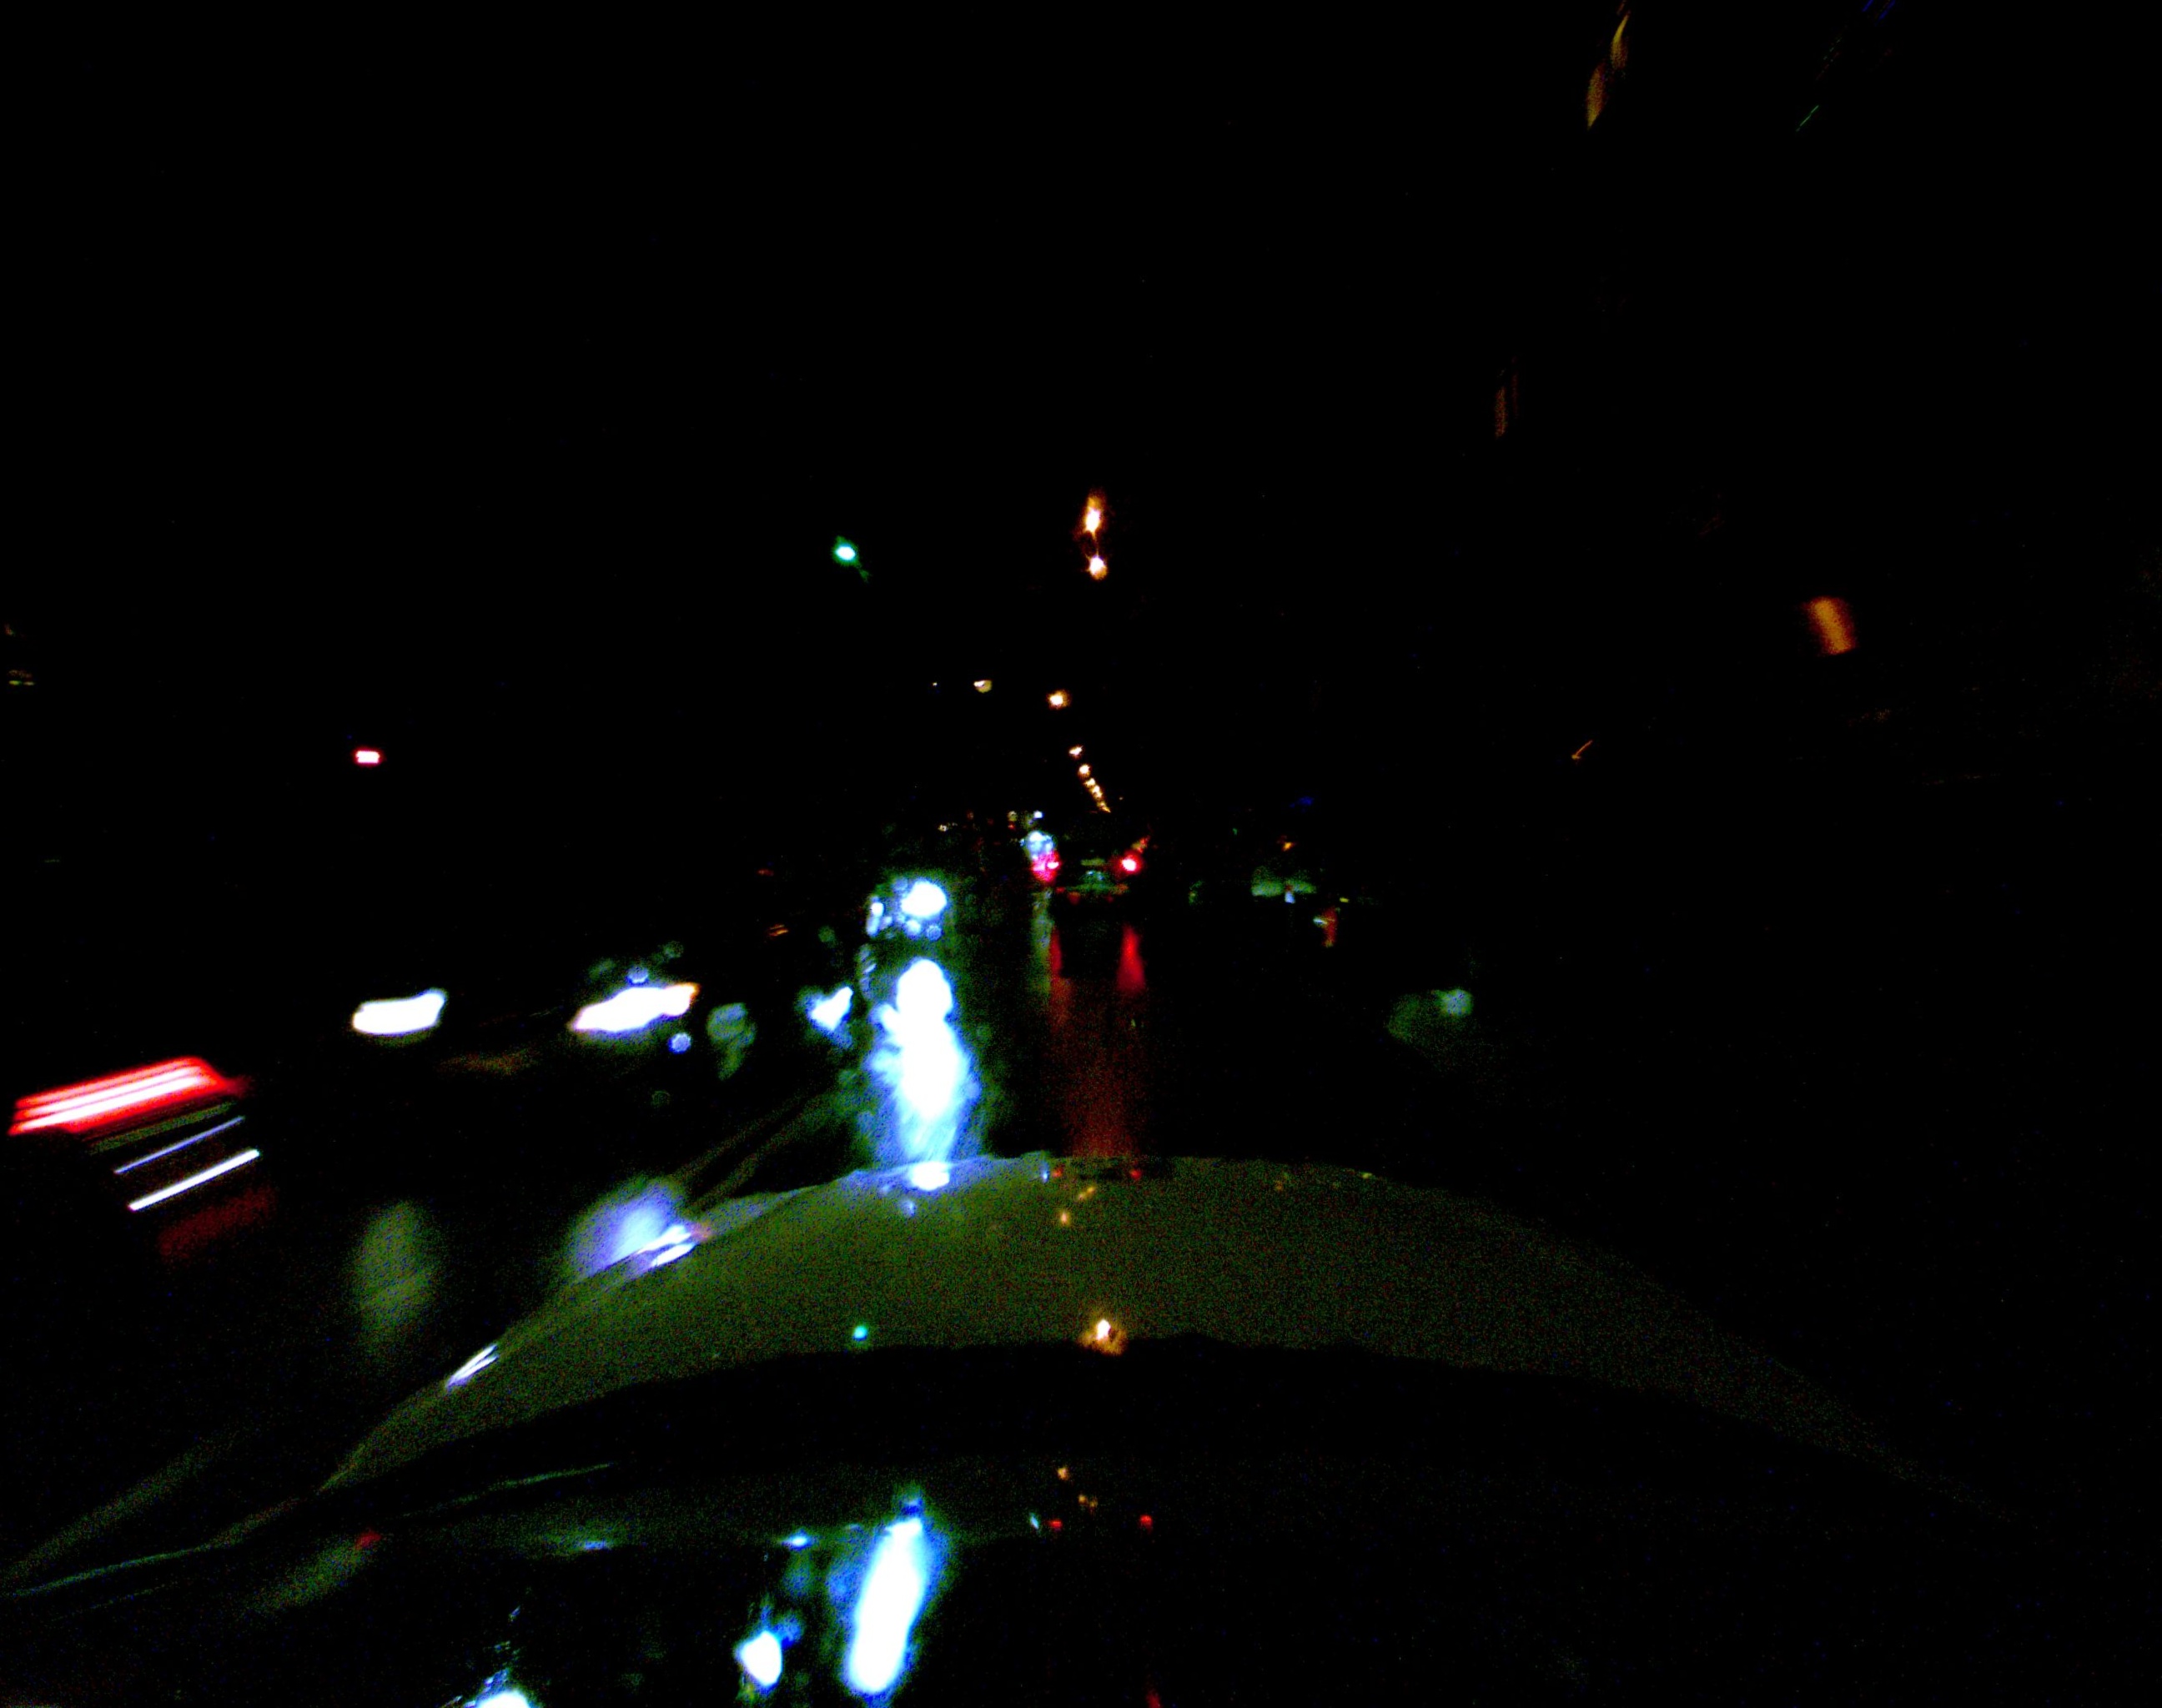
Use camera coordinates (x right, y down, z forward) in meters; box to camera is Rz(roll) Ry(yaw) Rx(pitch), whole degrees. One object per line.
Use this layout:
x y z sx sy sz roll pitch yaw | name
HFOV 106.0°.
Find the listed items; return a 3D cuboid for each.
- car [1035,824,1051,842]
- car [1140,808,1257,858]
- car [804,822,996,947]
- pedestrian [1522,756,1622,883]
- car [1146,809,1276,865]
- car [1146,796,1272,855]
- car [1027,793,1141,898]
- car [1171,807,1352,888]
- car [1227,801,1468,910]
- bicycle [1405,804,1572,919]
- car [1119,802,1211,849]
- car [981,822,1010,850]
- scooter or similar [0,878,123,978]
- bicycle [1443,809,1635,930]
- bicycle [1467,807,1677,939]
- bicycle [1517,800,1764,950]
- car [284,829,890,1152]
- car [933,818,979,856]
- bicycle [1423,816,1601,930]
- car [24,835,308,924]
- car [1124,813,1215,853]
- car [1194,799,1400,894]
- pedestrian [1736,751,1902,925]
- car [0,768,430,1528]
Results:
-4.534 -2.515 96.635 1.720 1.971 4.219 -2 2 -1 | car
4.657 -0.855 32.204 4.185 1.645 1.759 -5 3 -19 | car
-2.573 0.310 12.885 1.781 1.553 4.857 -2 2 1 | car
7.730 -0.545 12.872 0.953 1.881 1.001 -2 2 2 | pedestrian
4.614 -0.624 29.042 4.185 1.645 1.759 -5 3 -19 | car
4.255 -0.960 26.718 4.208 1.645 1.642 -6 3 -40 | car
0.139 -0.246 18.240 2.160 1.971 4.305 -3 2 2 | car
4.412 -0.214 19.710 4.201 1.590 1.714 -5 3 -32 | car
4.725 -0.057 14.214 4.205 1.457 1.837 -6 3 -36 | car
5.409 0.093 10.864 1.892 1.359 0.595 -4 1 -3 | bicycle
4.869 -1.658 46.914 5.033 2.391 2.116 -6 3 -36 | car
-6.415 -1.390 60.824 1.726 1.971 3.712 -2 2 -12 | car
-13.839 0.983 11.004 1.081 1.239 0.283 -3 2 -26 | scooter or similar
5.349 0.167 9.569 1.892 1.251 0.595 -4 1 -3 | bicycle
5.296 0.190 8.828 1.892 1.251 0.595 -4 1 -3 | bicycle
5.396 0.183 7.918 1.892 1.251 0.710 -4 1 -3 | bicycle
-2.754 0.573 5.803 1.662 1.420 4.099 -2 2 1 | car
-7.071 -0.977 45.829 1.995 1.971 4.280 -2 2 -15 | car
5.396 0.219 10.241 1.892 1.251 0.595 -4 1 -3 | bicycle
-22.174 0.532 19.976 1.682 1.700 4.220 -1 4 27 | car
4.263 -1.019 39.006 4.205 1.645 1.750 -6 3 -36 | car
4.561 -0.214 16.933 4.205 1.576 1.861 -6 3 -36 | car
7.406 -0.165 8.228 0.778 1.617 1.001 -2 2 2 | pedestrian
-3.116 0.668 0.716 1.662 1.562 4.011 -2 2 2 | car
